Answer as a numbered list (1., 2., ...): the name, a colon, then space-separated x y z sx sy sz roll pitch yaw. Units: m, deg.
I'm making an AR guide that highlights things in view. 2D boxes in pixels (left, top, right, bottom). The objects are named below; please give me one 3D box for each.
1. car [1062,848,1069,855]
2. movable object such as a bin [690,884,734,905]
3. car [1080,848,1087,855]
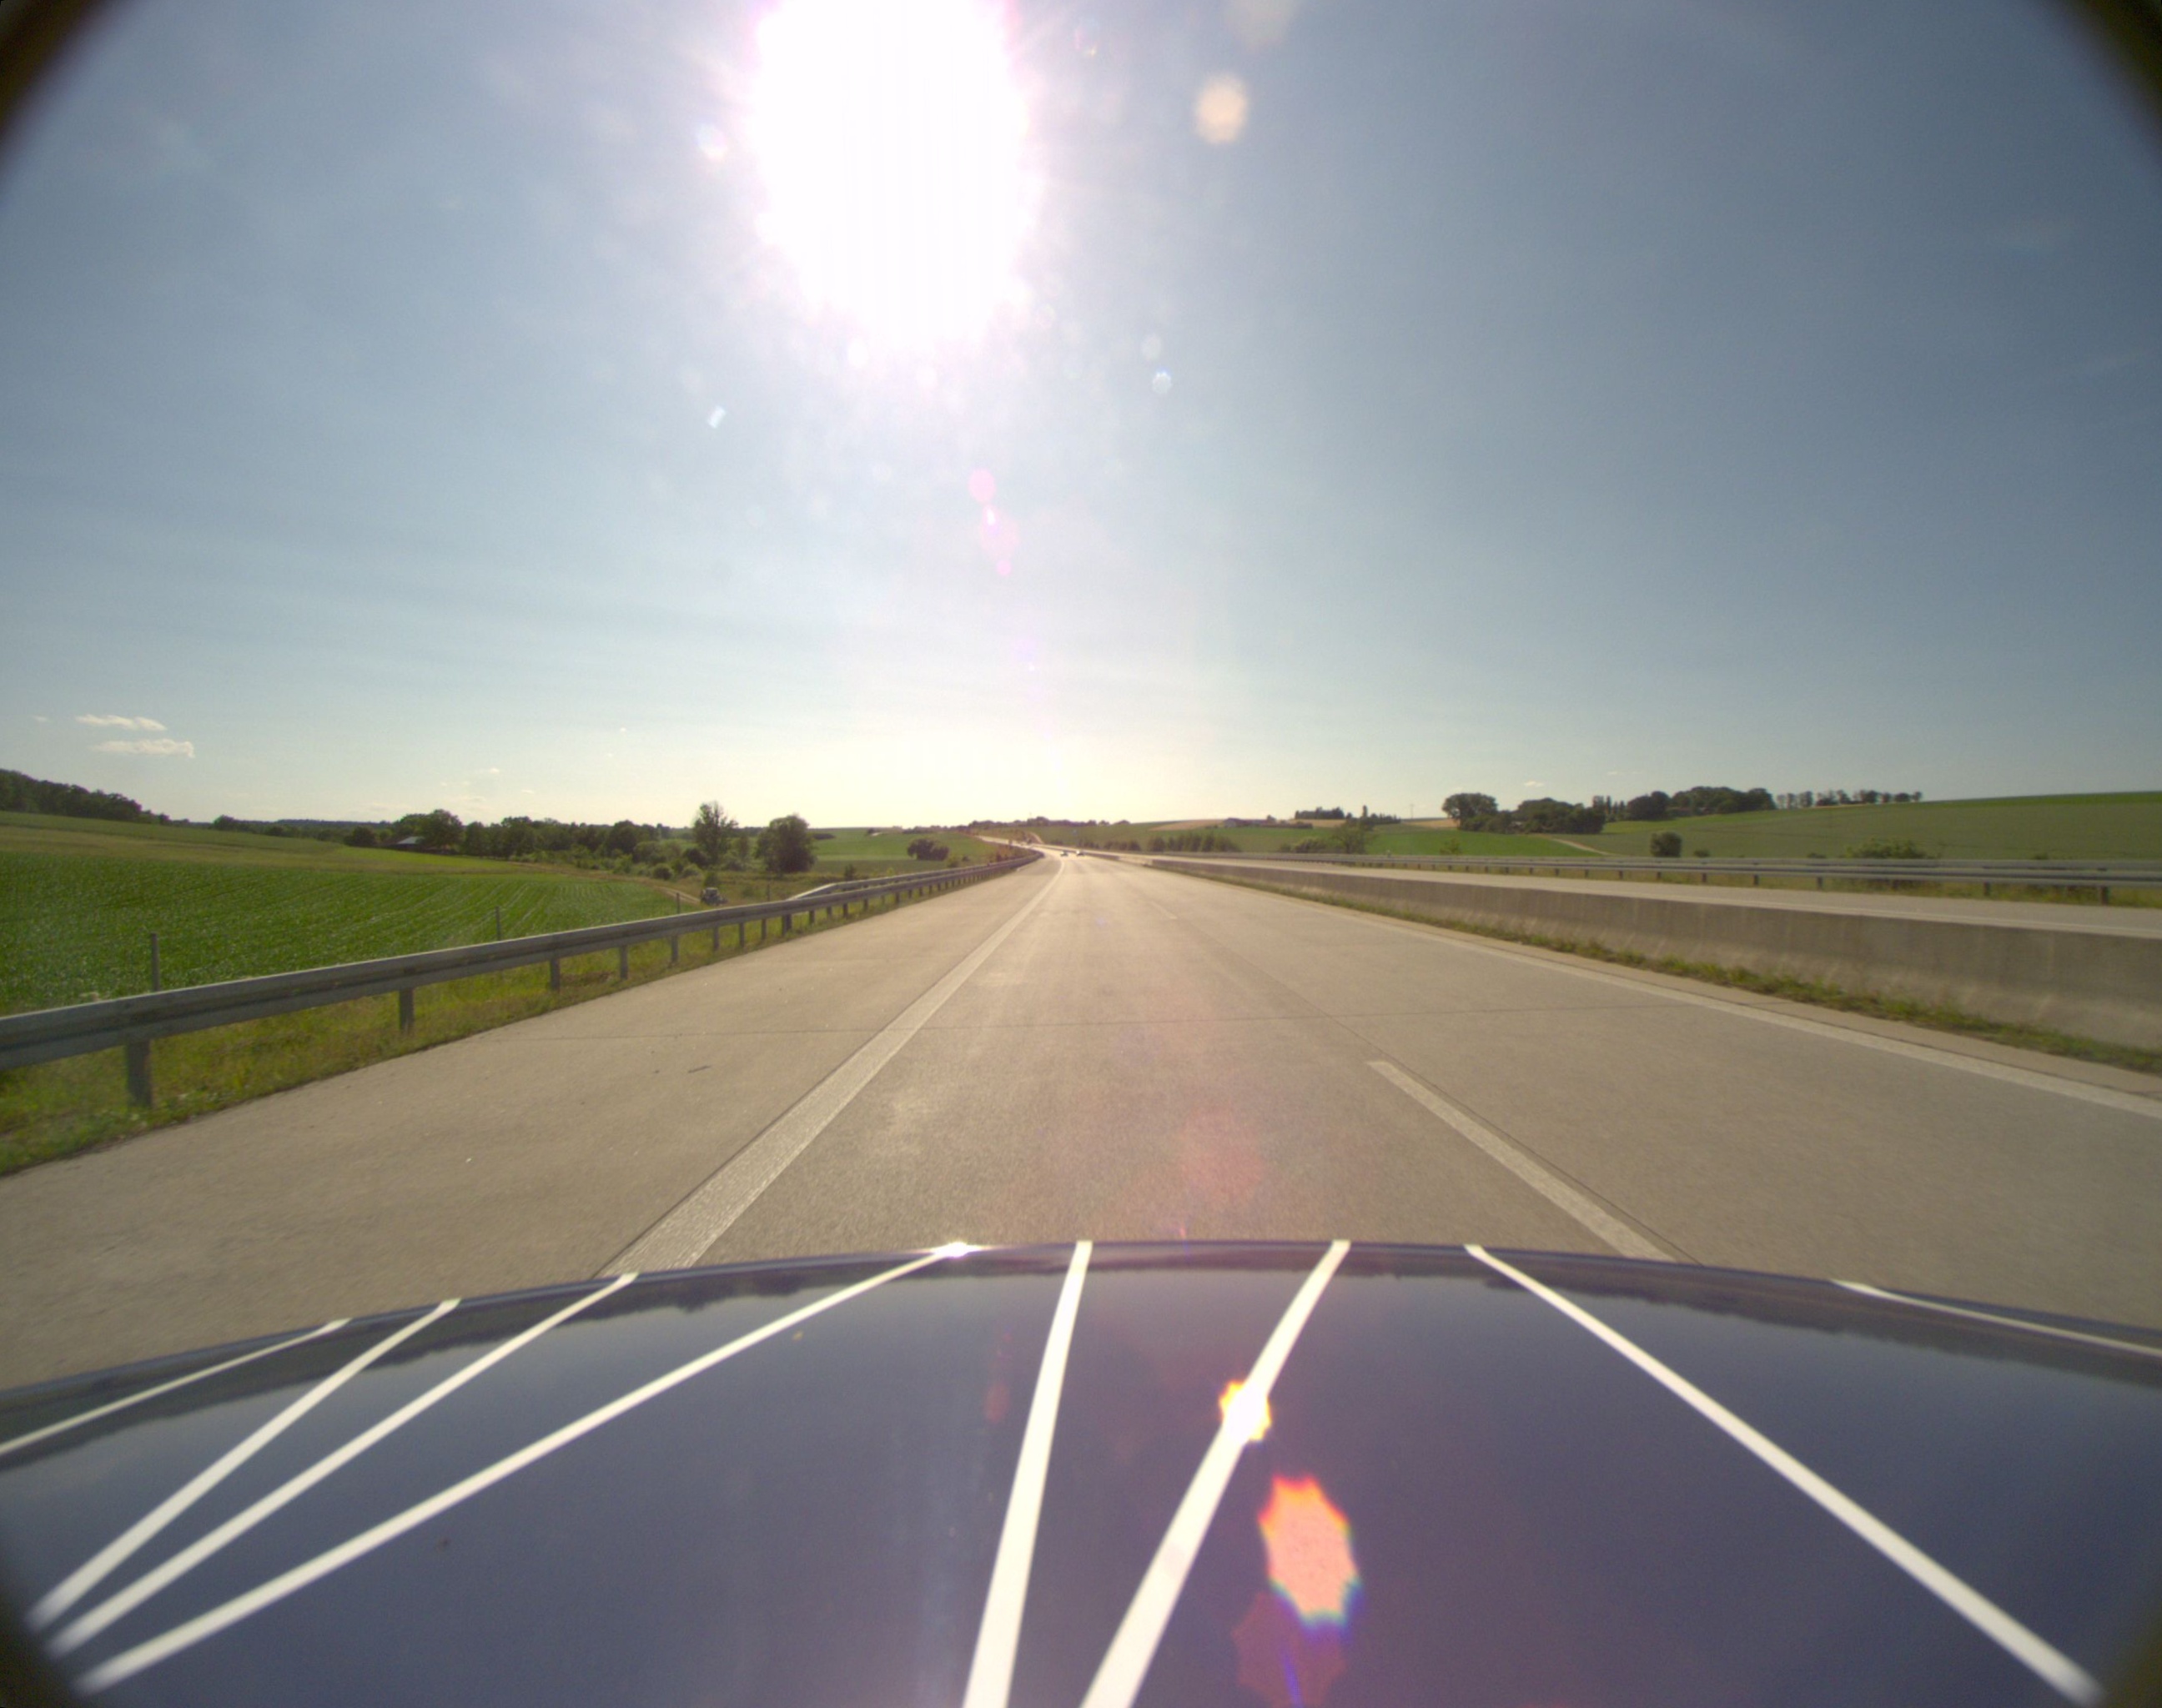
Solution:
1. car: -4.112 -0.557 198.506 1.715 1.580 4.625 -2 2 -1
2. movable object such as a bin: -55.186 6.020 113.594 6.214 2.756 3.292 0 3 38
3. car: 0.706 -0.611 189.500 1.715 1.580 4.625 -2 2 0
